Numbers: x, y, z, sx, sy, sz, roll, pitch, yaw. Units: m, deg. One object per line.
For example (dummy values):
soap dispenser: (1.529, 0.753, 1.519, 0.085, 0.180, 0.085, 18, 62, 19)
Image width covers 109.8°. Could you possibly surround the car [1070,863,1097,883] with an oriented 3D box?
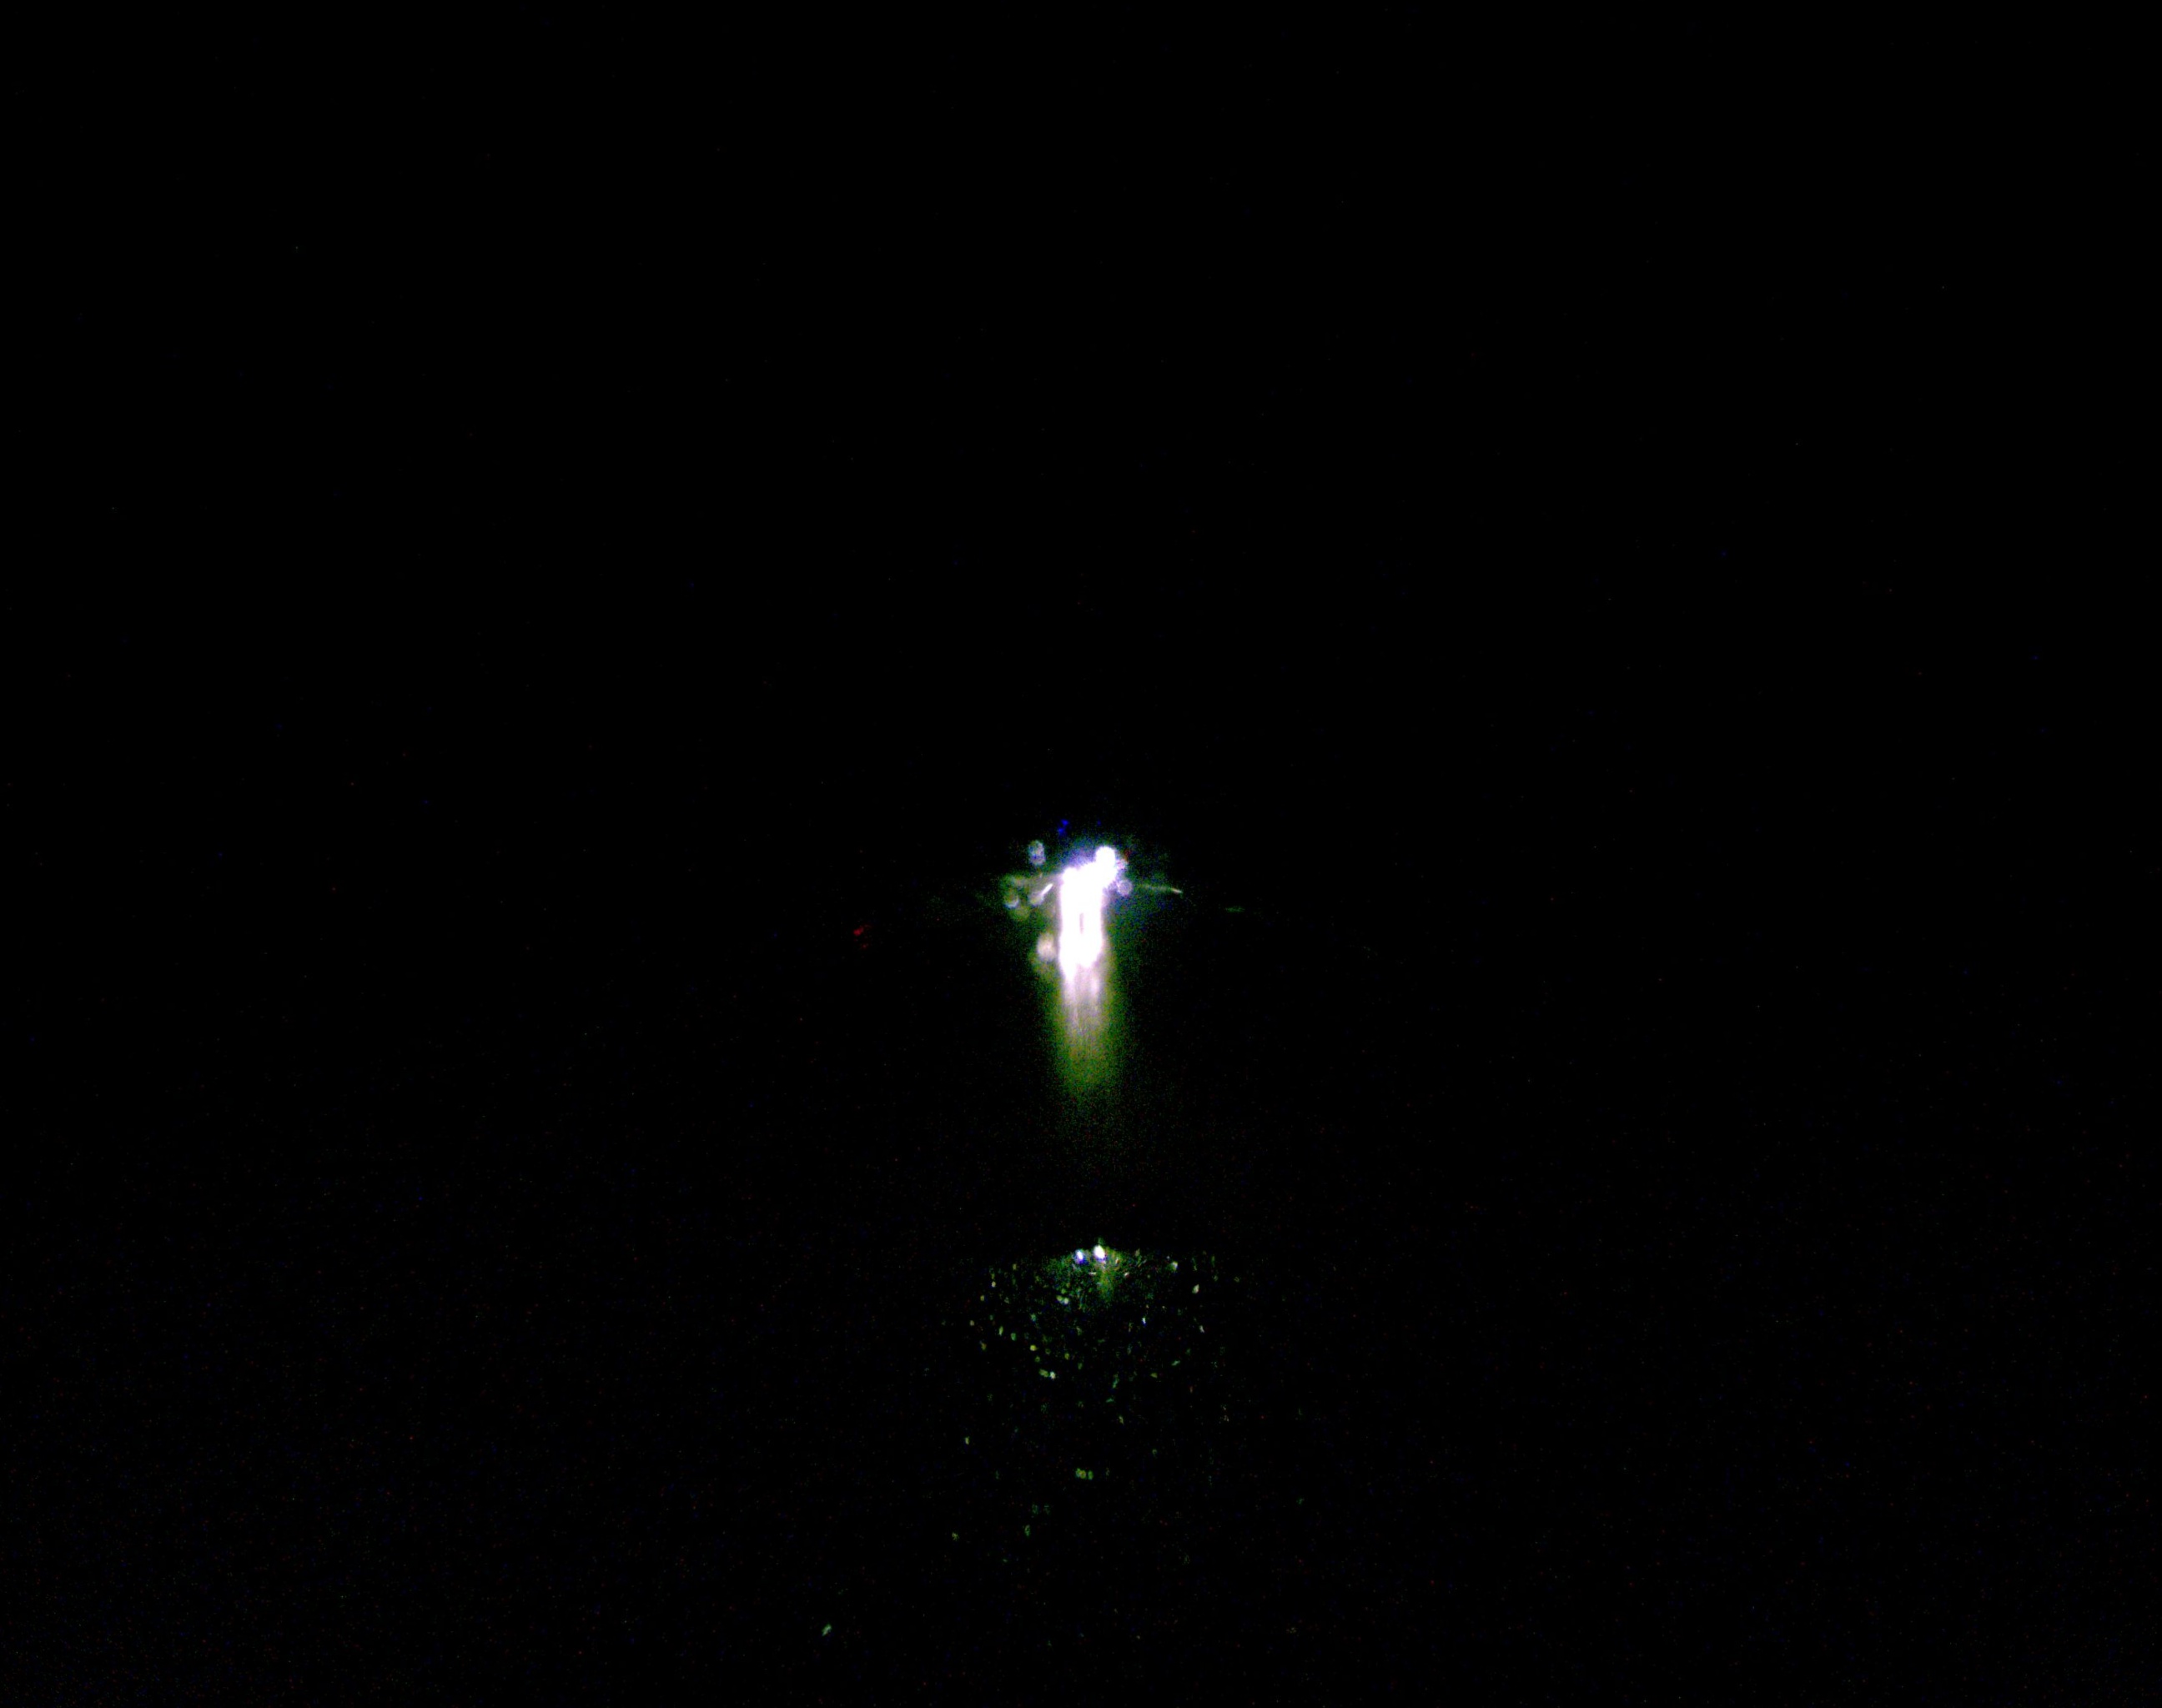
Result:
car: (0.199, 1.490, 60.520, 1.998, 1.412, 3.999, -2, 1, 0)
